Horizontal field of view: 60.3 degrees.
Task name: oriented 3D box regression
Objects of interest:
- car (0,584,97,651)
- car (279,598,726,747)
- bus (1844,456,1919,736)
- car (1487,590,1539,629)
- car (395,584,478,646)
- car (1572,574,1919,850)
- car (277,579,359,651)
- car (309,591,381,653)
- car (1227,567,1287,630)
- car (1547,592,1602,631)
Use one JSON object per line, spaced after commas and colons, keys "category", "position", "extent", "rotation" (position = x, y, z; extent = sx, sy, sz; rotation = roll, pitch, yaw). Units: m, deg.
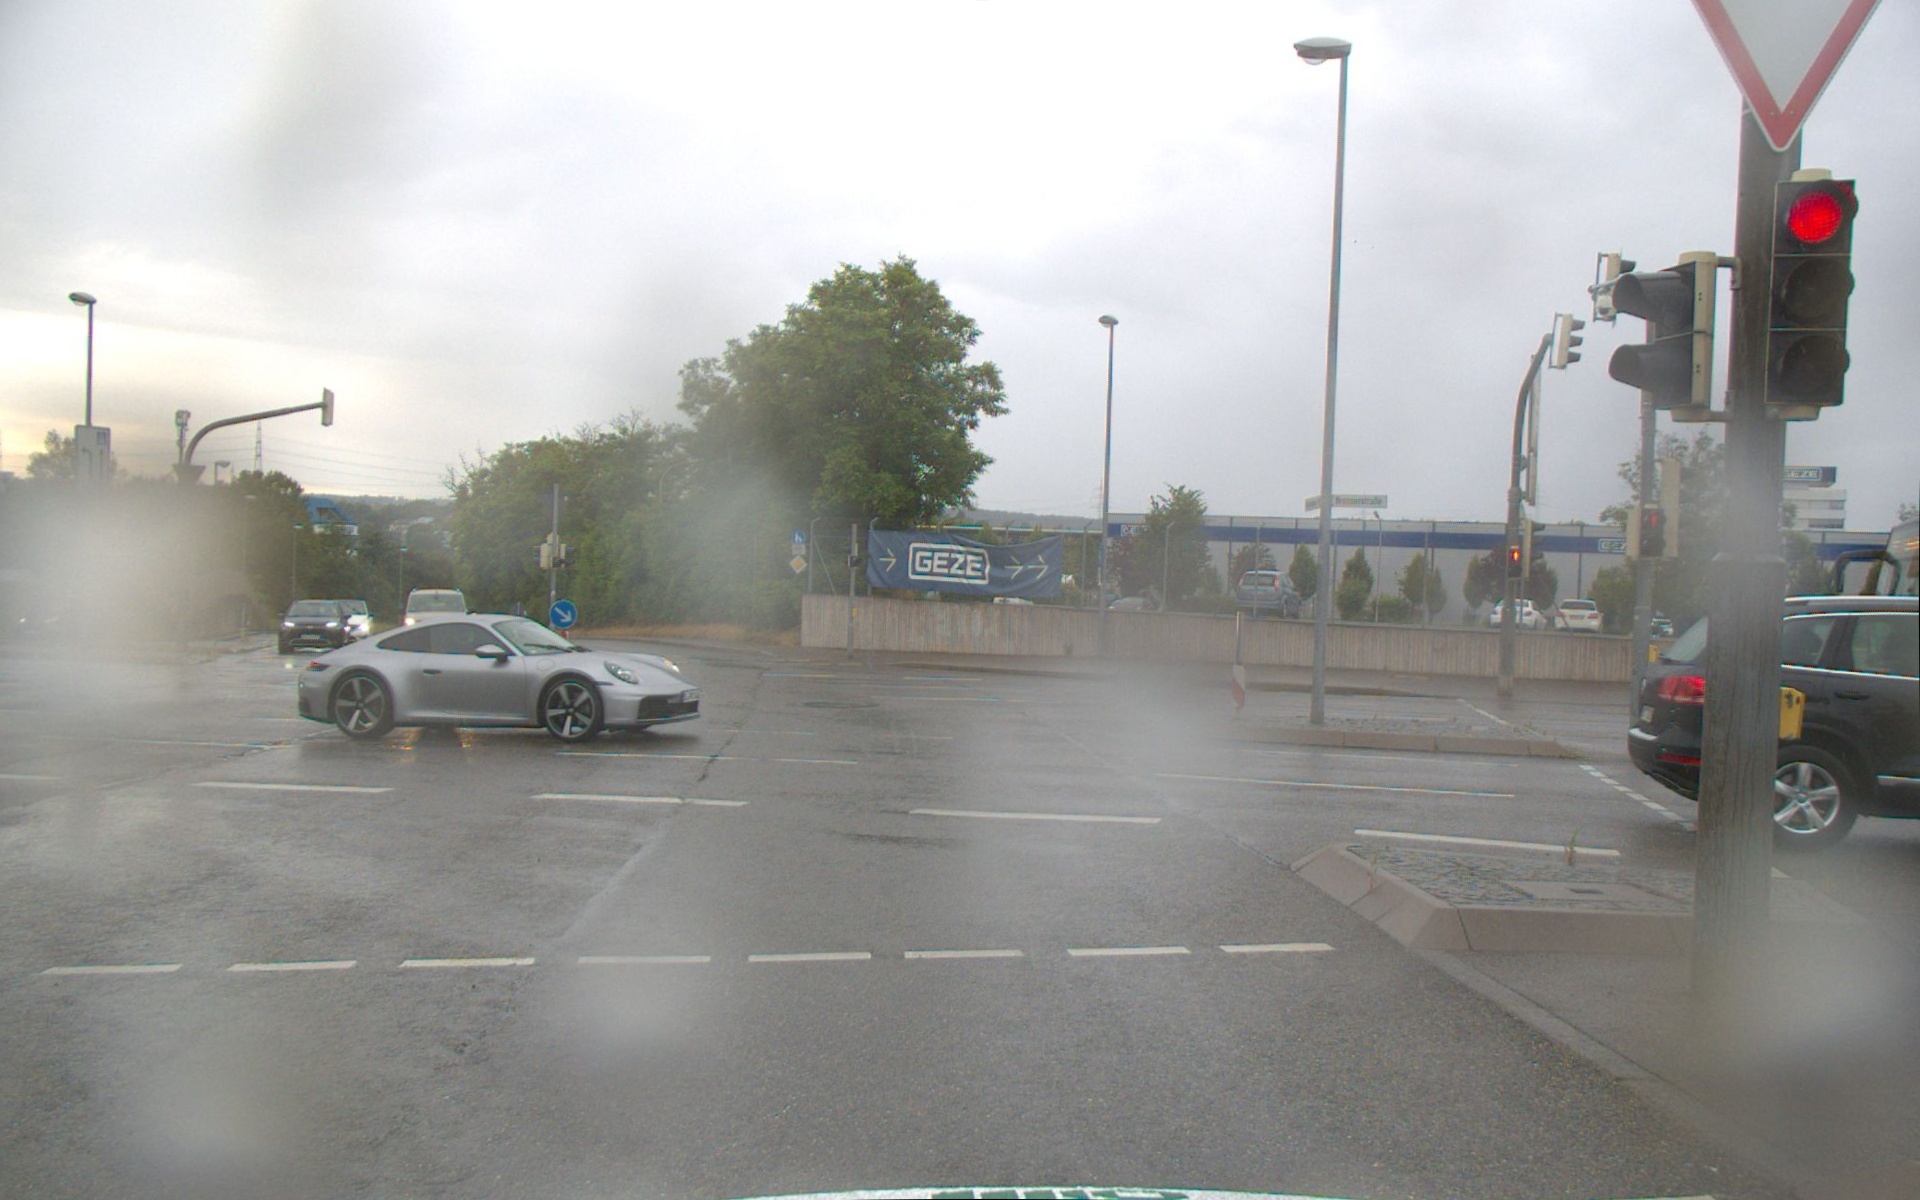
{"category": "car", "position": [-28.234, 0.519, 51.239], "extent": [1.962, 1.928, 3.981], "rotation": [1, 0, -18]}
{"category": "car", "position": [-4.965, 0.733, 18.173], "extent": [4.337, 1.382, 1.858], "rotation": [2, 0, 12]}
{"category": "bus", "position": [17.694, 0.217, 19.829], "extent": [12.019, 3.379, 3.076], "rotation": [3, 1, 16]}
{"category": "car", "position": [22.954, 0.395, 68.650], "extent": [1.952, 1.504, 4.001], "rotation": [2, 1, 19]}
{"category": "car", "position": [-14.950, 0.403, 47.430], "extent": [1.960, 1.646, 3.986], "rotation": [1, 1, -14]}
{"category": "car", "position": [6.905, 0.792, 11.786], "extent": [4.499, 1.732, 2.002], "rotation": [3, 1, 14]}
{"category": "car", "position": [-18.535, 0.404, 47.909], "extent": [1.963, 1.928, 3.979], "rotation": [1, 0, -19]}
{"category": "car", "position": [-20.421, 0.699, 55.030], "extent": [1.962, 1.928, 3.981], "rotation": [1, 0, -17]}
{"category": "car", "position": [10.388, -0.058, 57.845], "extent": [1.951, 2.049, 4.003], "rotation": [1, 0, 11]}
{"category": "car", "position": [25.250, 0.464, 68.061], "extent": [1.952, 1.504, 4.001], "rotation": [2, 1, 19]}
